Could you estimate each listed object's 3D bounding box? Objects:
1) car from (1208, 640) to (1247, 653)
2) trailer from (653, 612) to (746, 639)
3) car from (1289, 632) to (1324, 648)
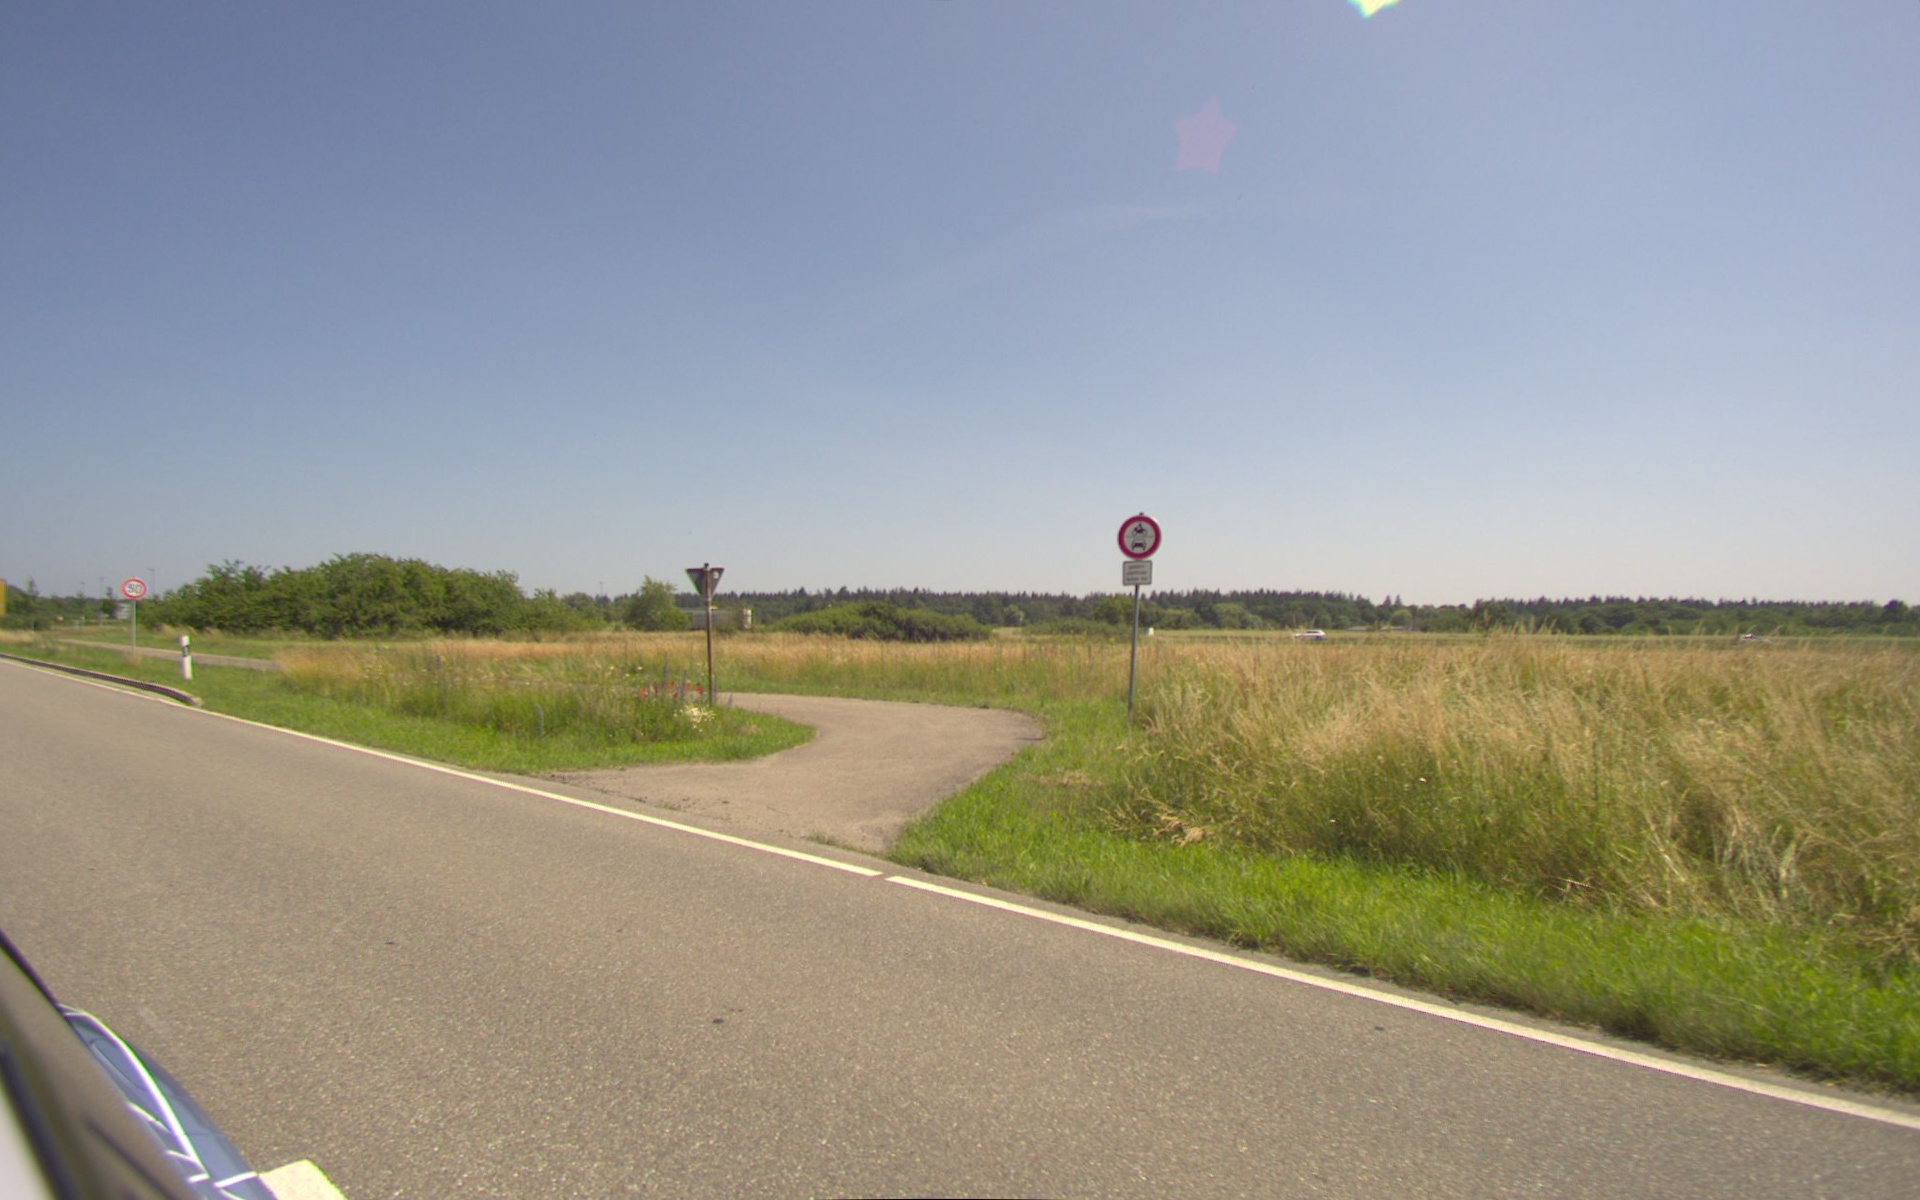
[{"bbox_3d":[35.263,6.141,133.544,4.801,1.704,1.993,0,-2,11],"label":"car"},{"bbox_3d":[-39.000,3.813,151.233,13.738,3.964,2.633,0,-2,12],"label":"trailer"},{"bbox_3d":[46.894,5.419,137.009,4.185,2.029,1.993,0,-2,12],"label":"car"}]
